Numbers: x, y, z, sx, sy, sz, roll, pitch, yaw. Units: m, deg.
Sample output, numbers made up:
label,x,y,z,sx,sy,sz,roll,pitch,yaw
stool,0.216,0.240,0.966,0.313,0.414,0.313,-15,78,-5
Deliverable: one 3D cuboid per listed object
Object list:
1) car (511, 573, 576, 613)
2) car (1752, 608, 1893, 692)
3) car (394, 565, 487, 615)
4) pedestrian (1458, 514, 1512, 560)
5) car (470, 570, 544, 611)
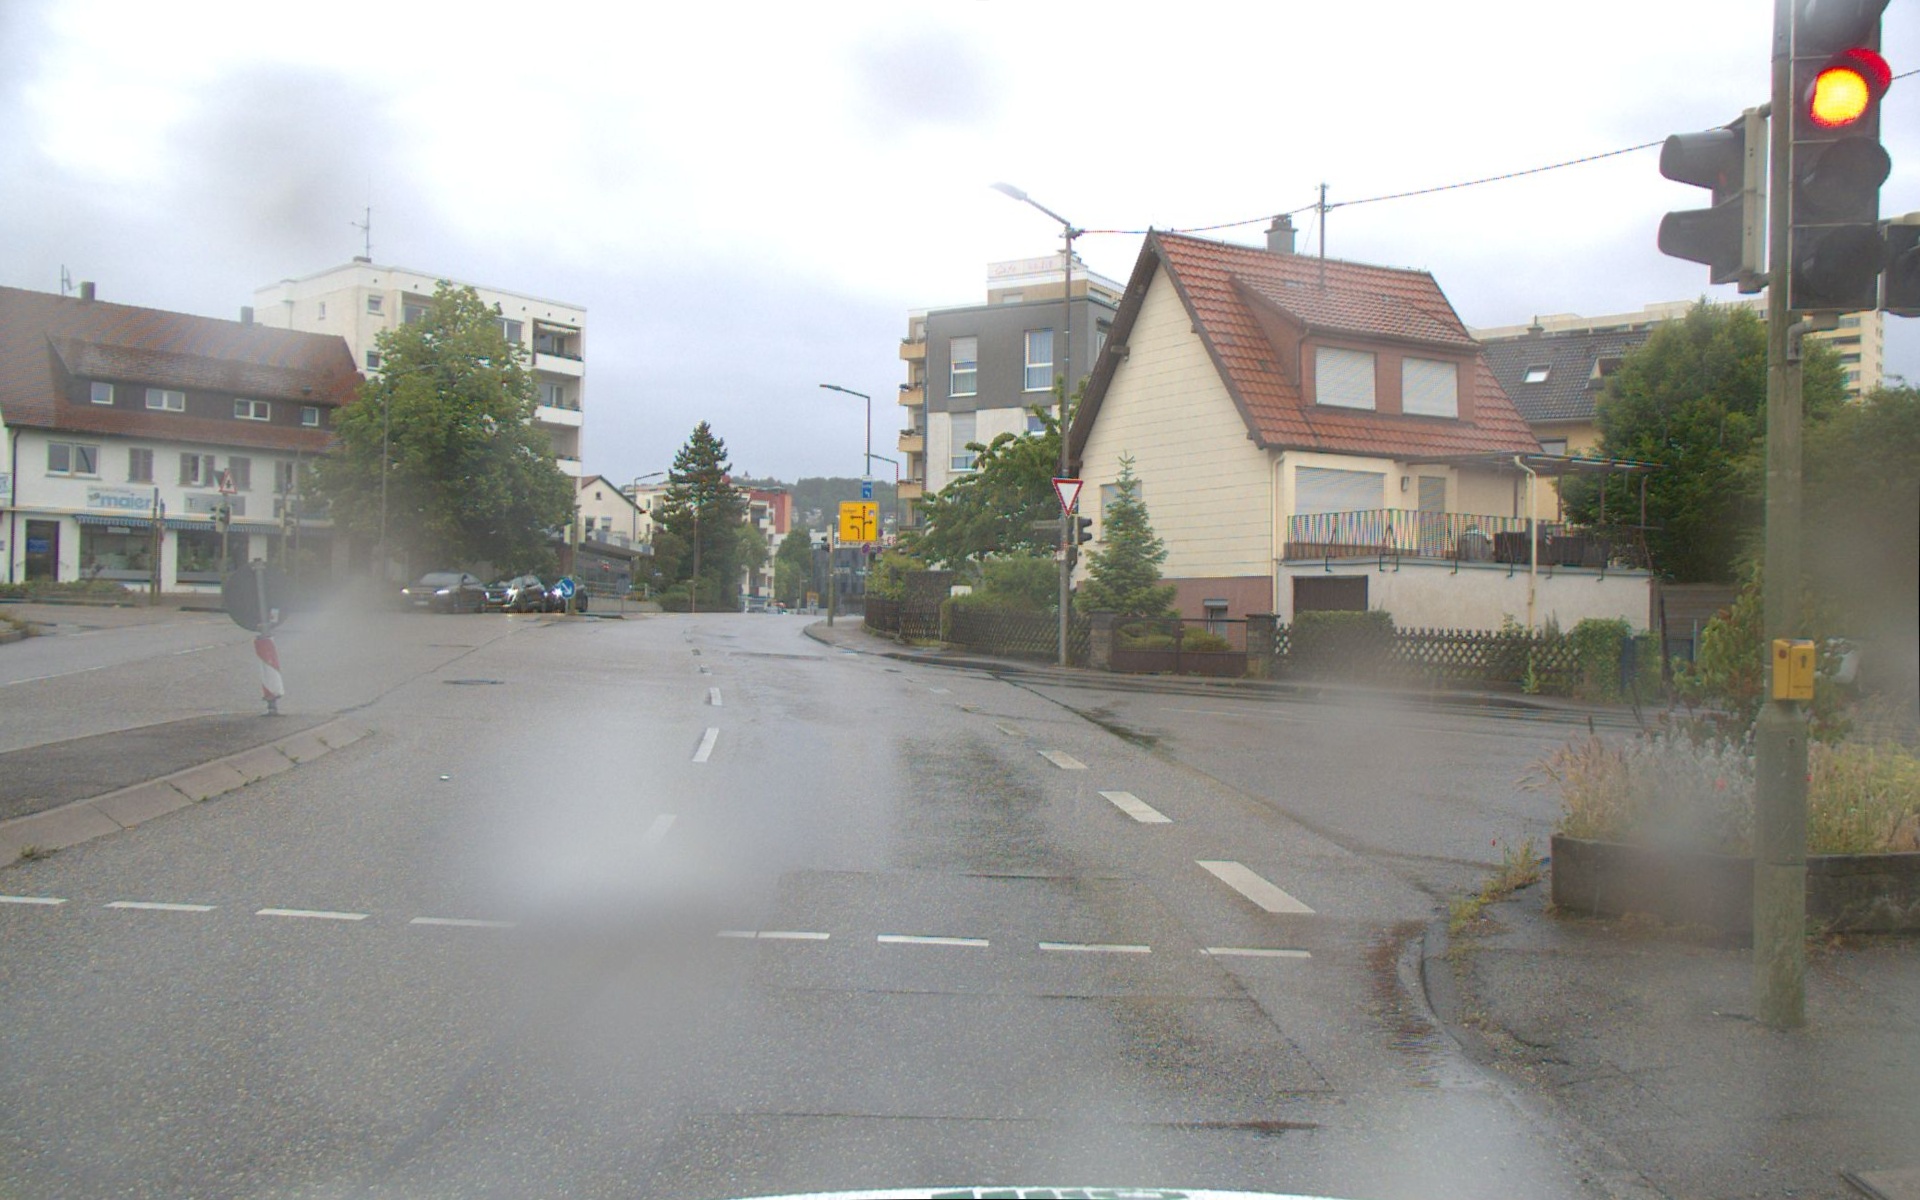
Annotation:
label,x,y,z,sx,sy,sz,roll,pitch,yaw
car,-17.838,-0.288,70.976,1.841,1.625,4.182,1,0,-2
car,15.625,0.864,29.864,1.780,1.386,3.986,1,0,35
car,-18.148,-0.329,58.003,1.953,1.653,4.537,1,0,-2
pedestrian,11.155,-1.335,35.165,0.902,0.898,0.632,1,-2,-20
car,-17.886,-0.369,65.475,1.927,1.538,3.998,1,0,-2
